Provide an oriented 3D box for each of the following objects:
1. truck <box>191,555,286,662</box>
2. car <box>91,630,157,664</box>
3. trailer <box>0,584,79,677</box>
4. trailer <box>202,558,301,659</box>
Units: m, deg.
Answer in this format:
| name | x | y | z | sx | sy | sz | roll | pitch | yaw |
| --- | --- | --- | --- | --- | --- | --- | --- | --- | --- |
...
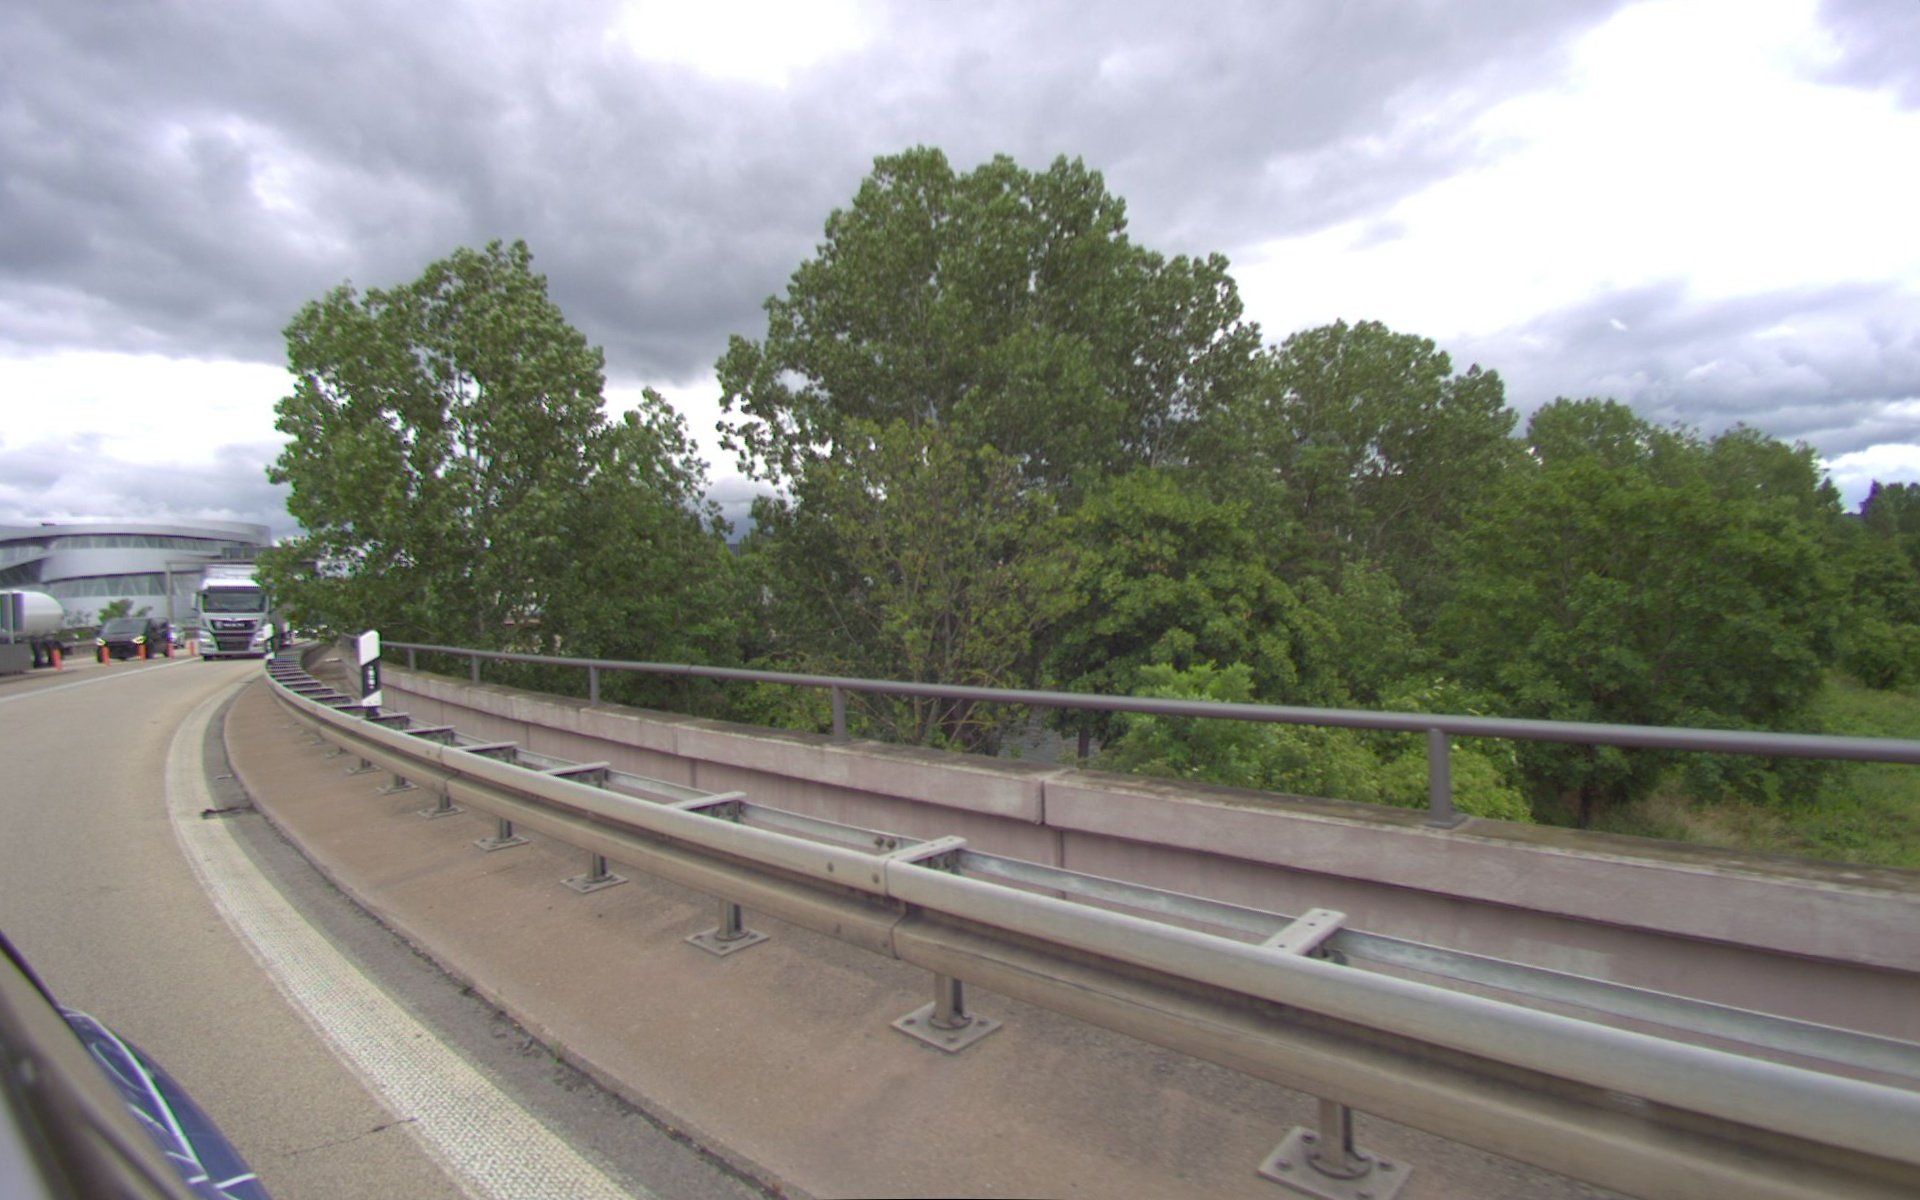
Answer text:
| name | x | y | z | sx | sy | sz | roll | pitch | yaw |
| --- | --- | --- | --- | --- | --- | --- | --- | --- | --- |
| truck | -31.100 | 0.347 | 43.815 | 2.690 | 4.260 | 6.220 | -1 | 0 | -30 |
| car | -38.611 | 2.129 | 46.814 | 1.760 | 1.420 | 3.813 | -1 | 0 | -31 |
| trailer | -40.031 | 1.261 | 41.311 | 2.701 | 3.677 | 11.041 | -1 | 0 | -22 |
| trailer | -34.200 | 0.429 | 49.289 | 2.702 | 4.269 | 13.488 | -1 | 0 | -30 |
